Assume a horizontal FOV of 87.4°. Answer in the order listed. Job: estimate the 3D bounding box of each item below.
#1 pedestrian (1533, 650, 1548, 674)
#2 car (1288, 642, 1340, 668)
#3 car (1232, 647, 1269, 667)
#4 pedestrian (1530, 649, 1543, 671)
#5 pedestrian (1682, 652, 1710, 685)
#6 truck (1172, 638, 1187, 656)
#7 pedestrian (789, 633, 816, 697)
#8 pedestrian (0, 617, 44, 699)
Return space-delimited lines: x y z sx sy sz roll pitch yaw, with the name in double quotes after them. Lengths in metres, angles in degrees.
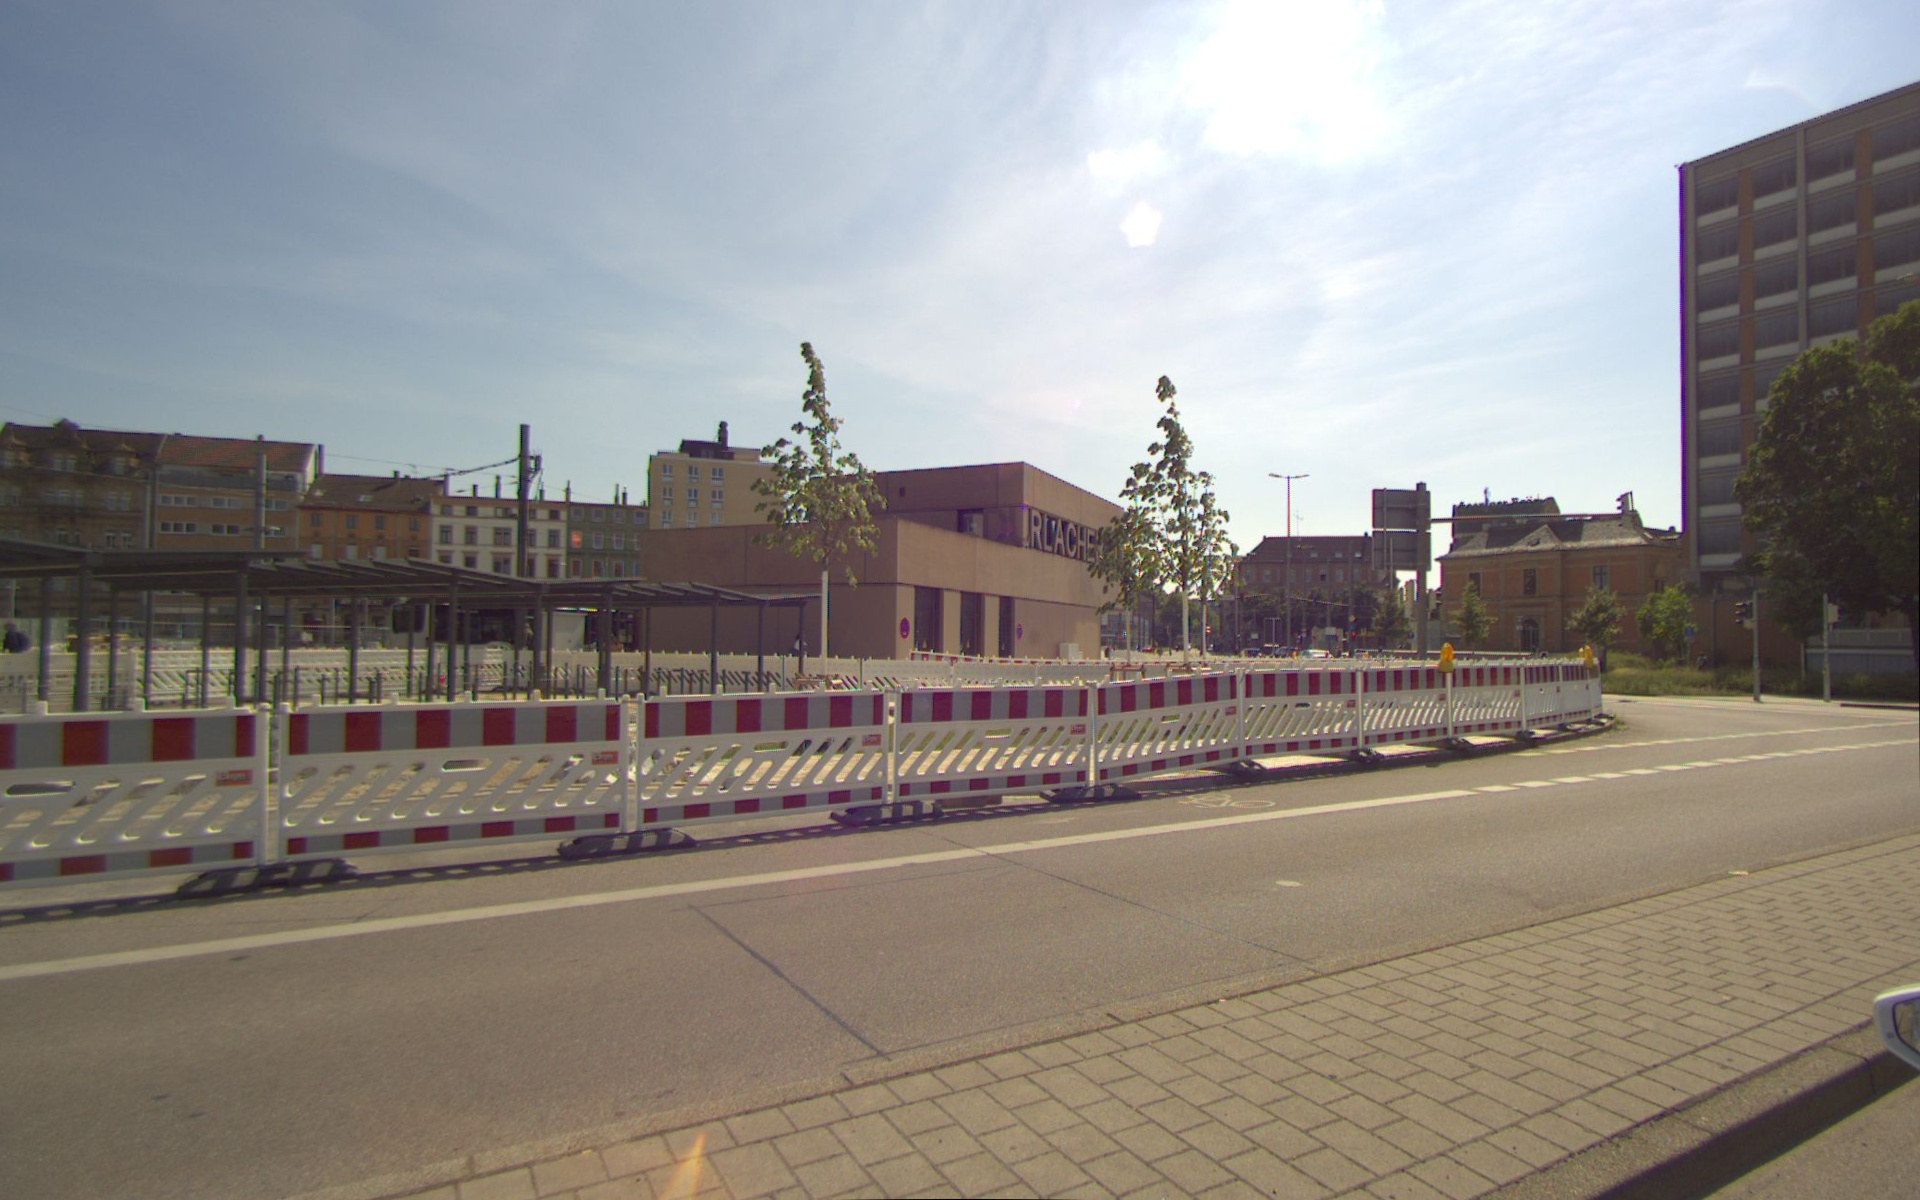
42.248 4.484 73.150 0.637 1.683 0.650 2 0 -3 "pedestrian"
25.424 3.936 72.194 1.963 1.839 3.996 1 -3 -7 "car"
23.036 4.502 79.767 1.764 1.530 4.002 1 -3 1 "car"
46.473 4.837 80.996 0.641 1.683 0.647 2 -2 -22 "pedestrian"
39.417 3.676 53.794 0.857 1.748 0.799 1 -2 -7 "pedestrian"
49.509 10.634 226.805 3.011 3.779 7.937 0 -3 10 "truck"
-3.976 1.633 25.429 0.415 1.585 0.558 -1 -2 24 "pedestrian"
-24.059 1.472 25.714 0.807 2.040 0.684 -1 -3 35 "pedestrian"
